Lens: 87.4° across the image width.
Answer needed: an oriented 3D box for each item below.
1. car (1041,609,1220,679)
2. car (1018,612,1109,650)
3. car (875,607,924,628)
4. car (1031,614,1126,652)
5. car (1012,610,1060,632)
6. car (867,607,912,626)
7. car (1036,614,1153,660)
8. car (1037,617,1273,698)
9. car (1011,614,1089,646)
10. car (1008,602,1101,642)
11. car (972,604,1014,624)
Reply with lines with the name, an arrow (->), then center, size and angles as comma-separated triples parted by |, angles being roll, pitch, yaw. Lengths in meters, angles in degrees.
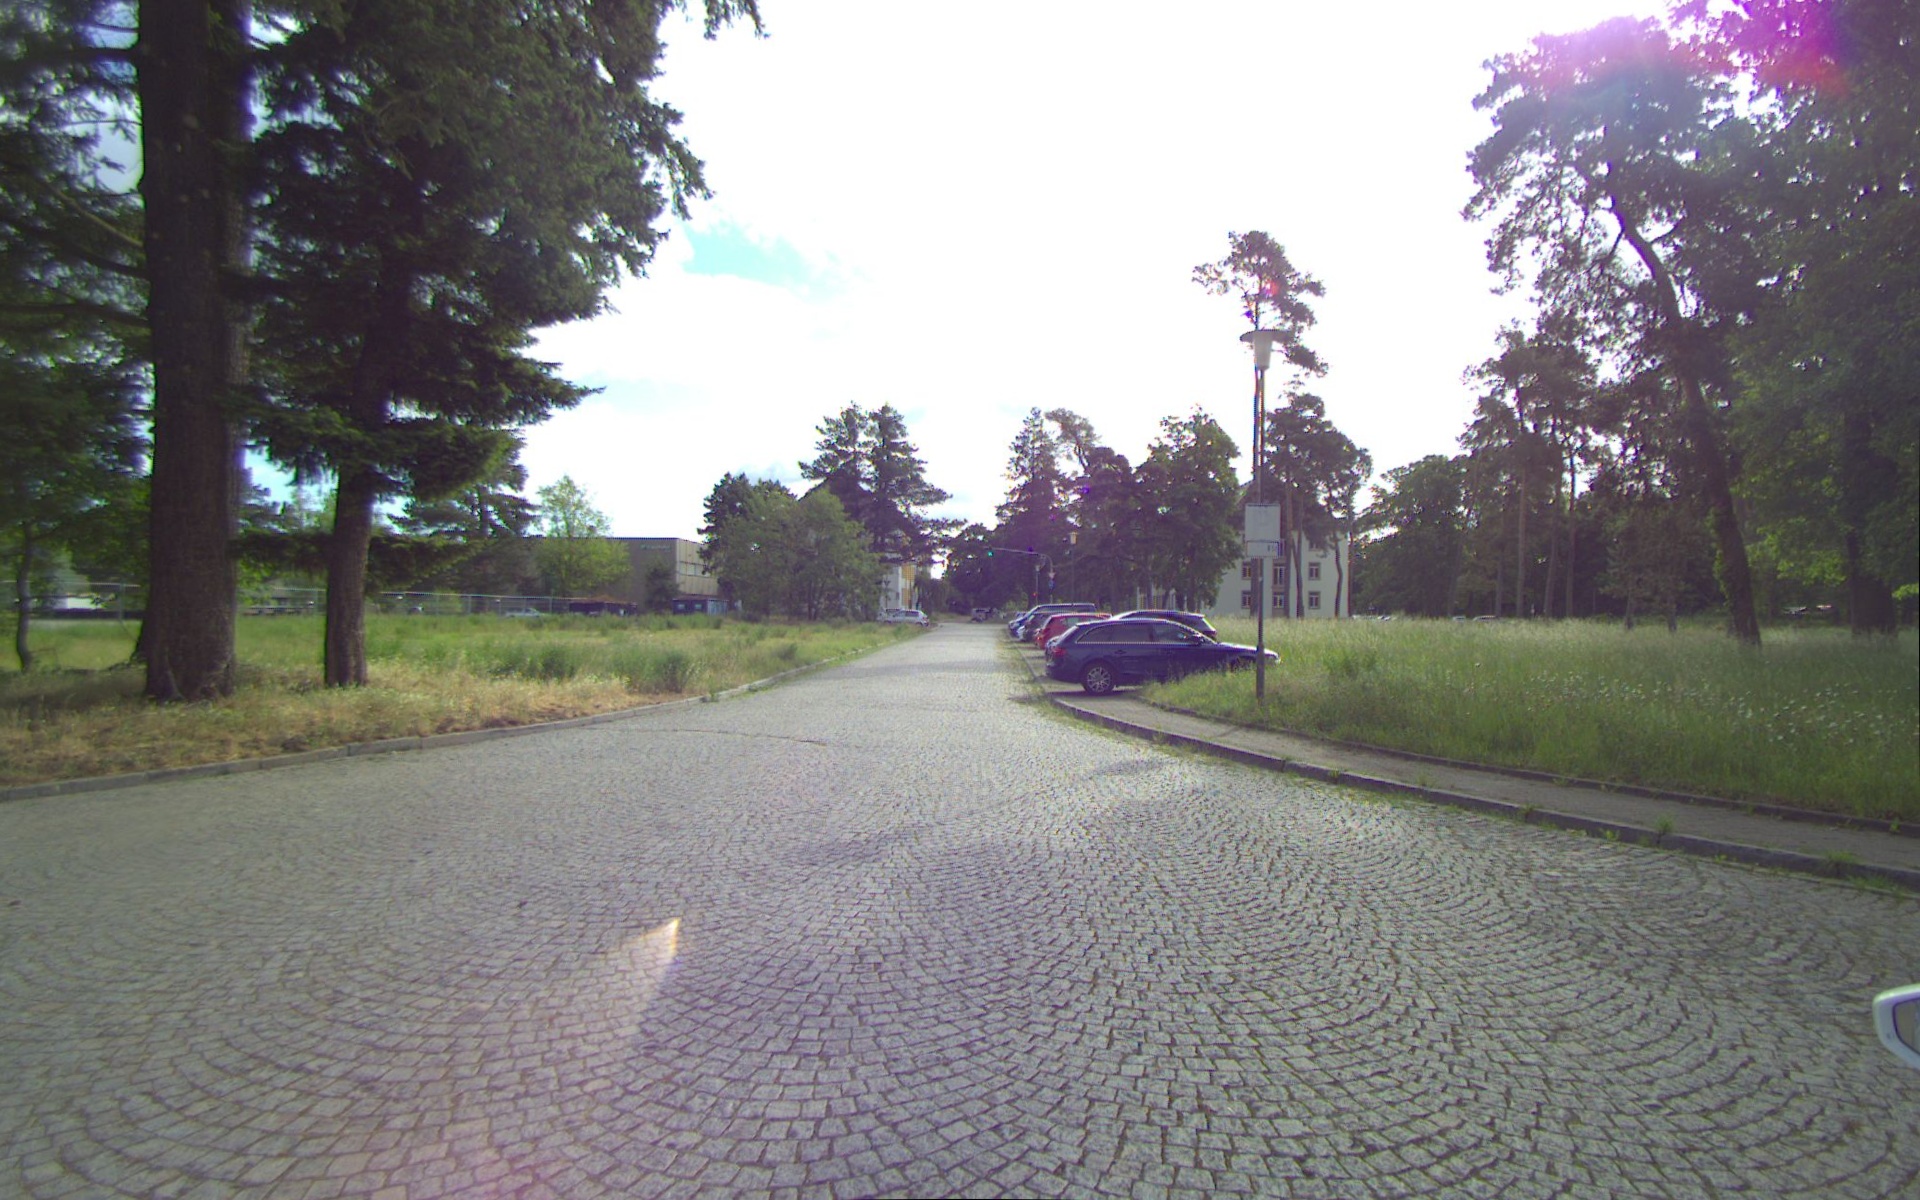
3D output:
car -> 4.056, 1.040, 24.430 | 4.069, 1.594, 1.790 | 0, 0, 1
car -> 4.607, 1.391, 45.138 | 3.842, 1.625, 1.821 | 1, -1, -1
car -> -4.618, 1.315, 77.030 | 3.659, 1.457, 1.626 | -2, 1, -2
car -> 4.959, 1.389, 42.481 | 3.875, 1.540, 1.708 | 0, -1, 2
car -> 5.887, 1.610, 77.641 | 3.392, 1.451, 1.626 | -3, 0, -8
car -> -5.792, 1.333, 82.395 | 3.661, 1.457, 1.625 | -2, 0, -6
car -> 4.606, 1.254, 34.732 | 3.819, 1.498, 1.672 | -1, -1, 1
car -> 3.712, 1.093, 19.668 | 4.356, 1.499, 1.683 | 0, -1, 5
car -> 4.593, 1.523, 51.650 | 3.855, 1.411, 1.743 | -2, 0, 0
car -> 5.022, 1.185, 54.072 | 4.741, 1.891, 2.161 | -2, 0, 0
car -> 4.786, 2.021, 144.929 | 5.688, 2.596, 2.768 | -2, 0, -4
